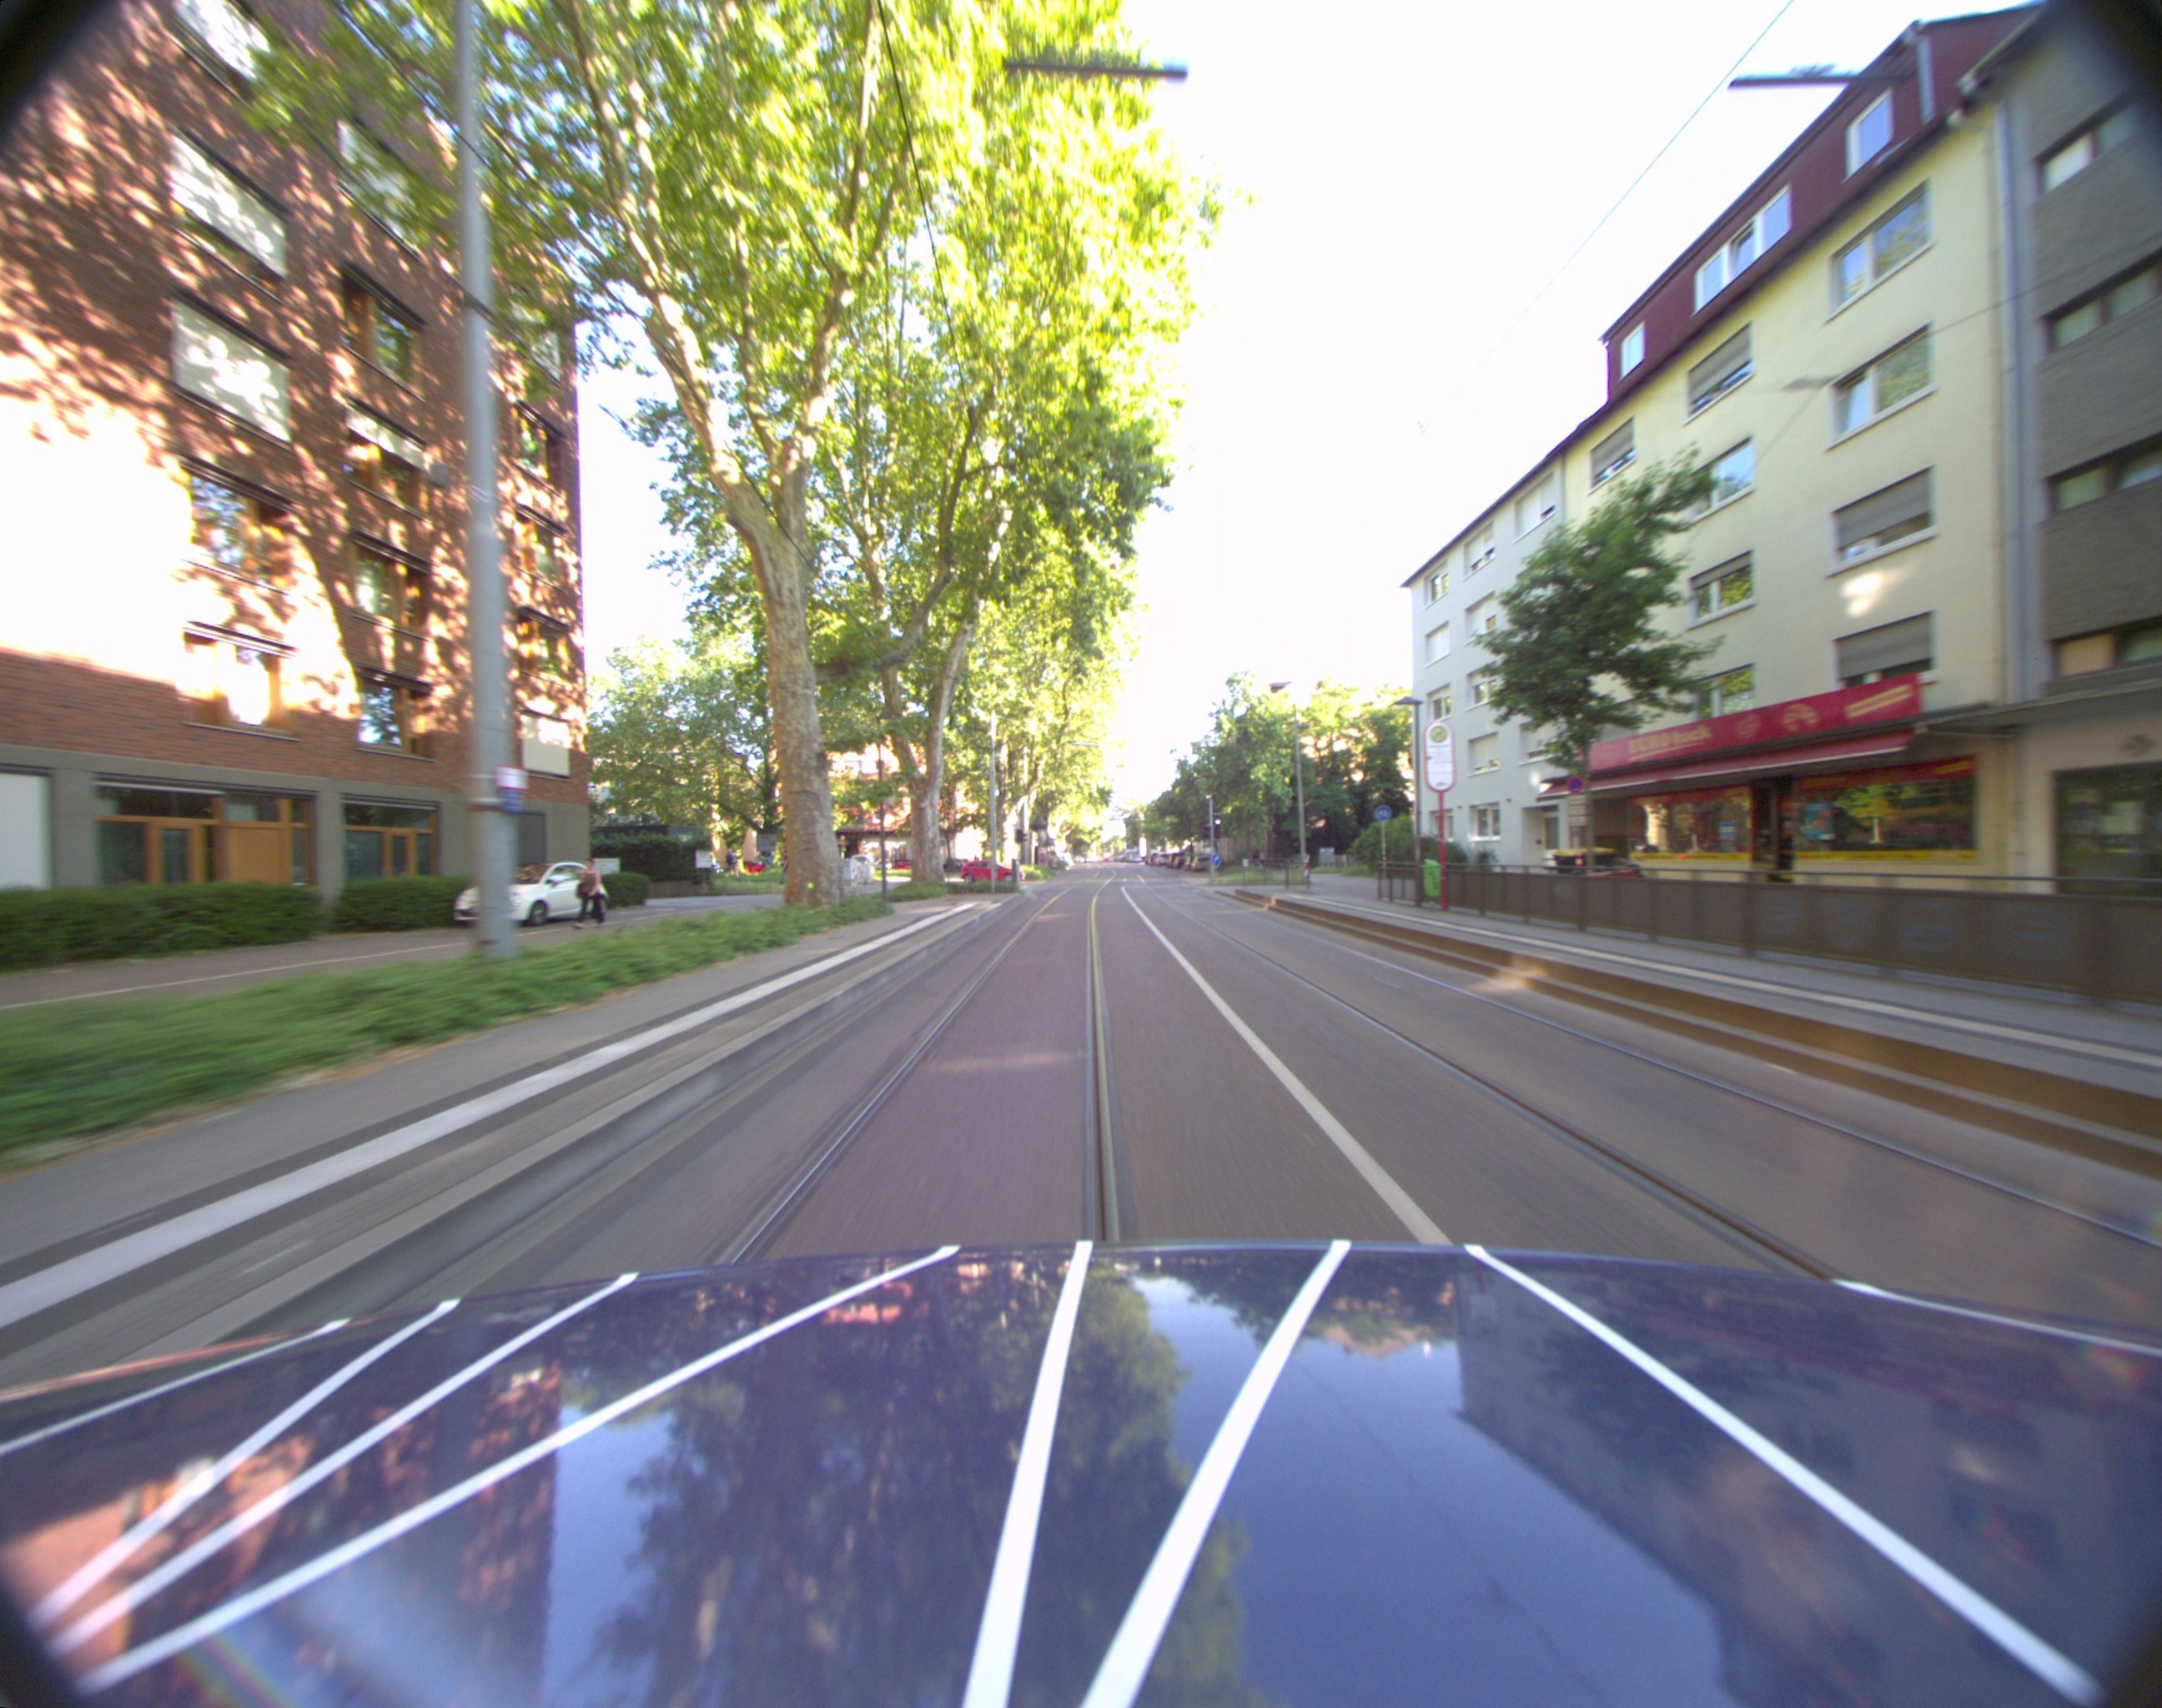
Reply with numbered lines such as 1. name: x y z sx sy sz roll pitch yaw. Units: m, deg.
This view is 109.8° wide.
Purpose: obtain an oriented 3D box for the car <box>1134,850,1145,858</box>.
1. car: 12.084 0.044 156.897 1.998 1.521 3.677 -1 0 0

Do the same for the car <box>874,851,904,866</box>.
1. car: -20.088 0.464 79.587 1.998 1.521 3.678 -1 0 3

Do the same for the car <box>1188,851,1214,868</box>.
1. car: 11.138 0.524 70.519 1.998 1.521 3.678 -1 0 3

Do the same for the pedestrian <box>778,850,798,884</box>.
1. pedestrian: -15.159 0.666 39.367 0.689 1.704 0.703 -1 1 8

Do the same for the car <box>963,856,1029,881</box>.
1. car: -5.298 0.899 47.869 3.872 1.521 2.000 -1 0 2

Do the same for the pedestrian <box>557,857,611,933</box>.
1. pedestrian: -11.286 0.915 17.279 0.710 1.681 0.748 -1 1 -1

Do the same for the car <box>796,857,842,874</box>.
1. car: -24.852 1.091 72.112 3.674 1.521 2.000 -1 0 2

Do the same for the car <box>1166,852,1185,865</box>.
1. car: 11.292 0.551 91.025 1.998 1.521 3.678 -1 0 3

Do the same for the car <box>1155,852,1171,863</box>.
1. car: 11.325 0.441 105.351 1.998 1.521 3.678 -1 0 3

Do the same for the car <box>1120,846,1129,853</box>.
1. car: 11.305 -1.094 198.189 1.998 1.741 3.677 -1 0 0

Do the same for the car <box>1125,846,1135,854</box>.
1. car: 11.627 -0.902 179.820 1.998 1.741 3.677 -1 0 0

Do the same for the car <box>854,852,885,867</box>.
1. car: -22.310 0.513 80.200 1.998 1.521 3.678 -1 0 3

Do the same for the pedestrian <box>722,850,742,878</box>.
1. pedestrian: -18.931 0.542 41.229 0.688 1.530 0.704 0 1 41

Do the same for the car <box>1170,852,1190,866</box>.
1. car: 11.239 0.510 86.200 1.998 1.521 3.678 -1 0 3

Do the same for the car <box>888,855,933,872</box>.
1. car: -16.137 0.912 72.002 3.674 1.521 2.000 -1 0 2

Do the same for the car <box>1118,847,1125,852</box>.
1. car: 12.385 -1.374 234.537 1.998 1.741 3.677 -1 0 0

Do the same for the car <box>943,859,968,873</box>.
1. car: -14.293 1.332 86.924 1.998 1.521 3.678 -1 0 3

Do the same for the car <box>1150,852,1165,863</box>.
1. car: 11.655 0.519 115.961 1.998 1.521 3.678 -1 0 3

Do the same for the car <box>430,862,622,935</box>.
1. car: -13.154 0.972 18.346 1.657 1.499 3.961 -1 0 1

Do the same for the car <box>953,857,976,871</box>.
1. car: -13.935 1.178 90.945 1.998 1.521 3.678 -1 0 3

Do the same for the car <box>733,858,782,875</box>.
1. car: -30.570 1.210 71.826 3.674 1.521 2.000 -1 0 2

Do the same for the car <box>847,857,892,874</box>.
1. car: -20.041 1.058 72.070 3.674 1.521 2.000 -1 0 2
